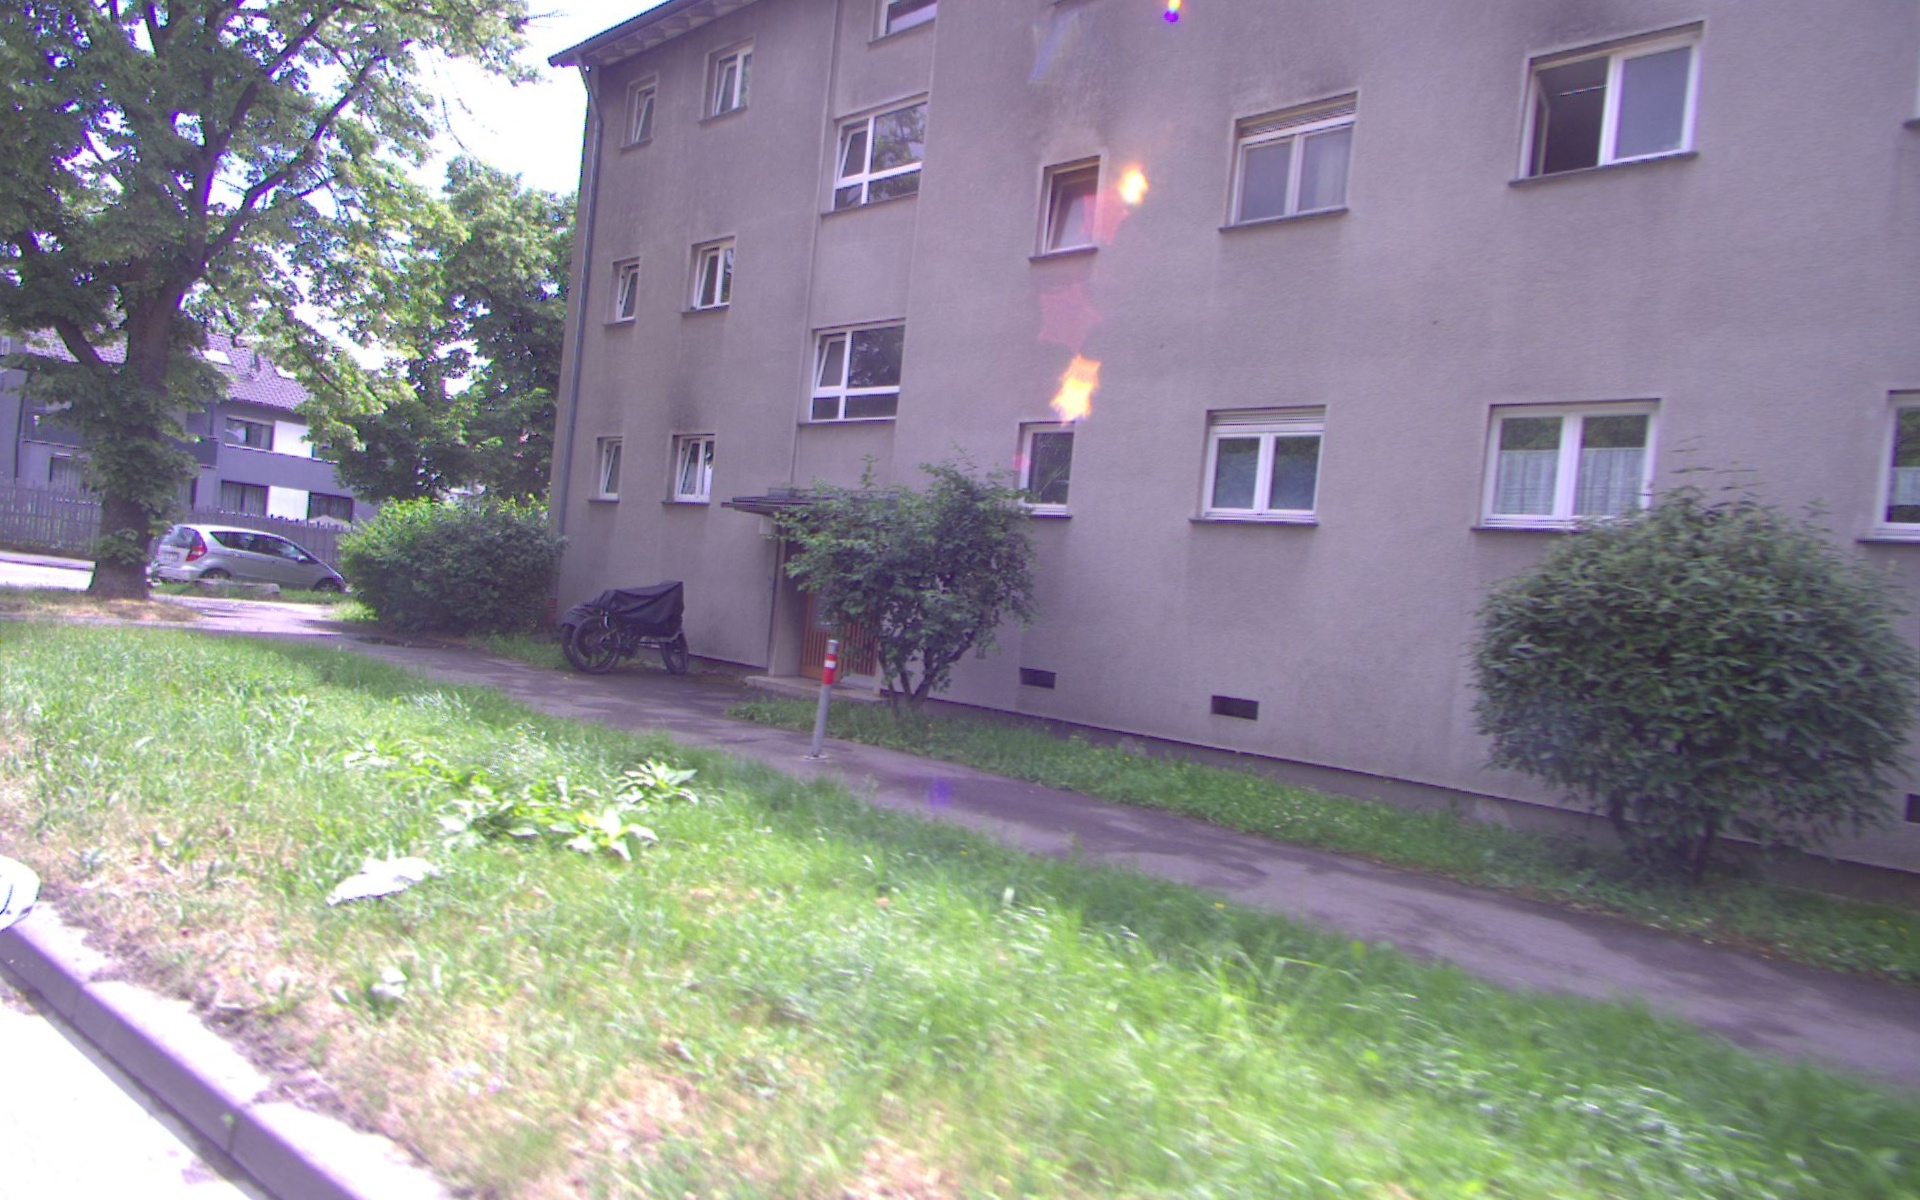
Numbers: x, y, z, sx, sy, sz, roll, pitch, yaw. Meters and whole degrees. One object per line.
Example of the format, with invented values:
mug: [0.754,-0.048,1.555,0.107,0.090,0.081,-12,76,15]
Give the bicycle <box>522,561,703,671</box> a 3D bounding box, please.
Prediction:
bicycle: [-4.602,0.248,13.468,0.671,1.298,2.164,6,0,40]

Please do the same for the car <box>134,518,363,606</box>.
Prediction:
car: [-17.041,-0.855,24.321,1.904,1.572,3.999,7,-1,24]

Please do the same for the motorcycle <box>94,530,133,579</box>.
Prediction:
motorcycle: [-22.347,-1.227,26.581,0.656,1.162,2.399,7,-2,-39]

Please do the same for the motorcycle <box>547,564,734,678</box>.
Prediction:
motorcycle: [-4.072,0.304,13.007,0.671,1.298,2.201,6,0,40]
